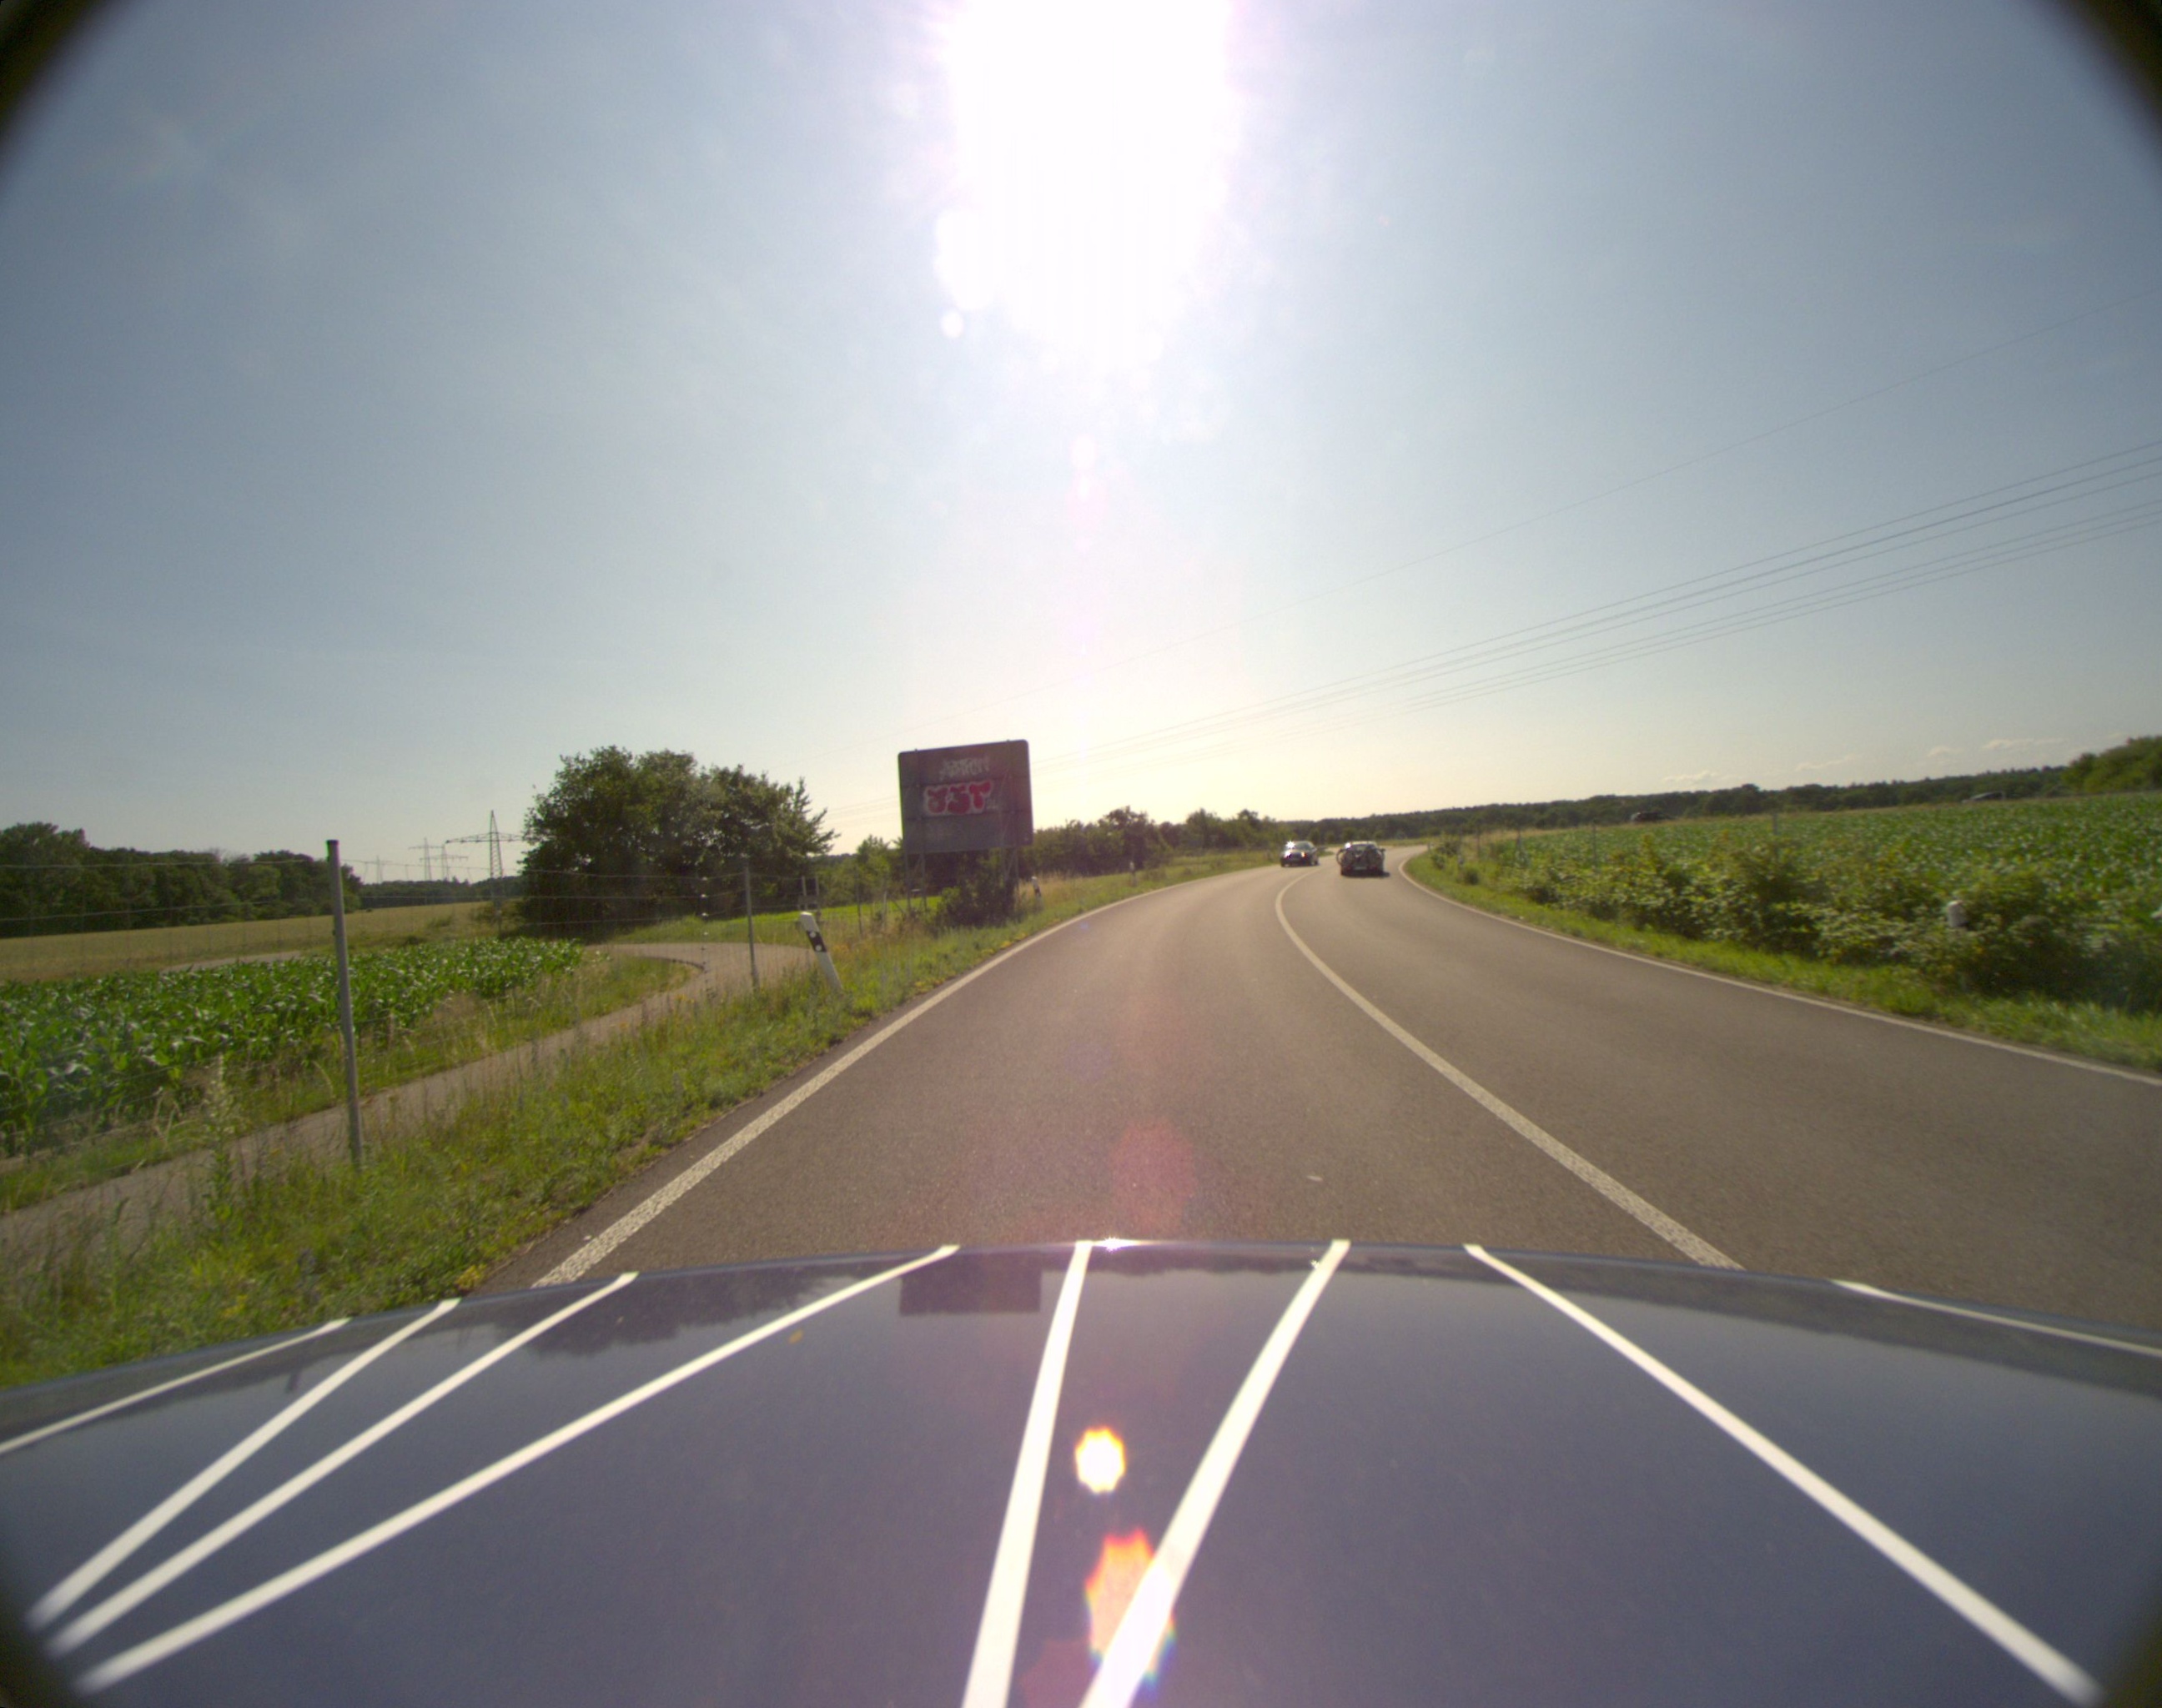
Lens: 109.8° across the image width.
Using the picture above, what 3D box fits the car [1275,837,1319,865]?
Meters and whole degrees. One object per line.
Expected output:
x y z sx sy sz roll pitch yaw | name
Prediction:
12.666 -0.190 44.434 1.883 1.448 4.081 -3 1 23 | car

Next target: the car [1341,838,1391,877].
12.389 0.075 32.978 1.868 1.473 5.142 0 2 22 | car

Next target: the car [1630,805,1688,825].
57.497 -3.841 75.604 4.258 1.697 1.989 -4 2 0 | car
